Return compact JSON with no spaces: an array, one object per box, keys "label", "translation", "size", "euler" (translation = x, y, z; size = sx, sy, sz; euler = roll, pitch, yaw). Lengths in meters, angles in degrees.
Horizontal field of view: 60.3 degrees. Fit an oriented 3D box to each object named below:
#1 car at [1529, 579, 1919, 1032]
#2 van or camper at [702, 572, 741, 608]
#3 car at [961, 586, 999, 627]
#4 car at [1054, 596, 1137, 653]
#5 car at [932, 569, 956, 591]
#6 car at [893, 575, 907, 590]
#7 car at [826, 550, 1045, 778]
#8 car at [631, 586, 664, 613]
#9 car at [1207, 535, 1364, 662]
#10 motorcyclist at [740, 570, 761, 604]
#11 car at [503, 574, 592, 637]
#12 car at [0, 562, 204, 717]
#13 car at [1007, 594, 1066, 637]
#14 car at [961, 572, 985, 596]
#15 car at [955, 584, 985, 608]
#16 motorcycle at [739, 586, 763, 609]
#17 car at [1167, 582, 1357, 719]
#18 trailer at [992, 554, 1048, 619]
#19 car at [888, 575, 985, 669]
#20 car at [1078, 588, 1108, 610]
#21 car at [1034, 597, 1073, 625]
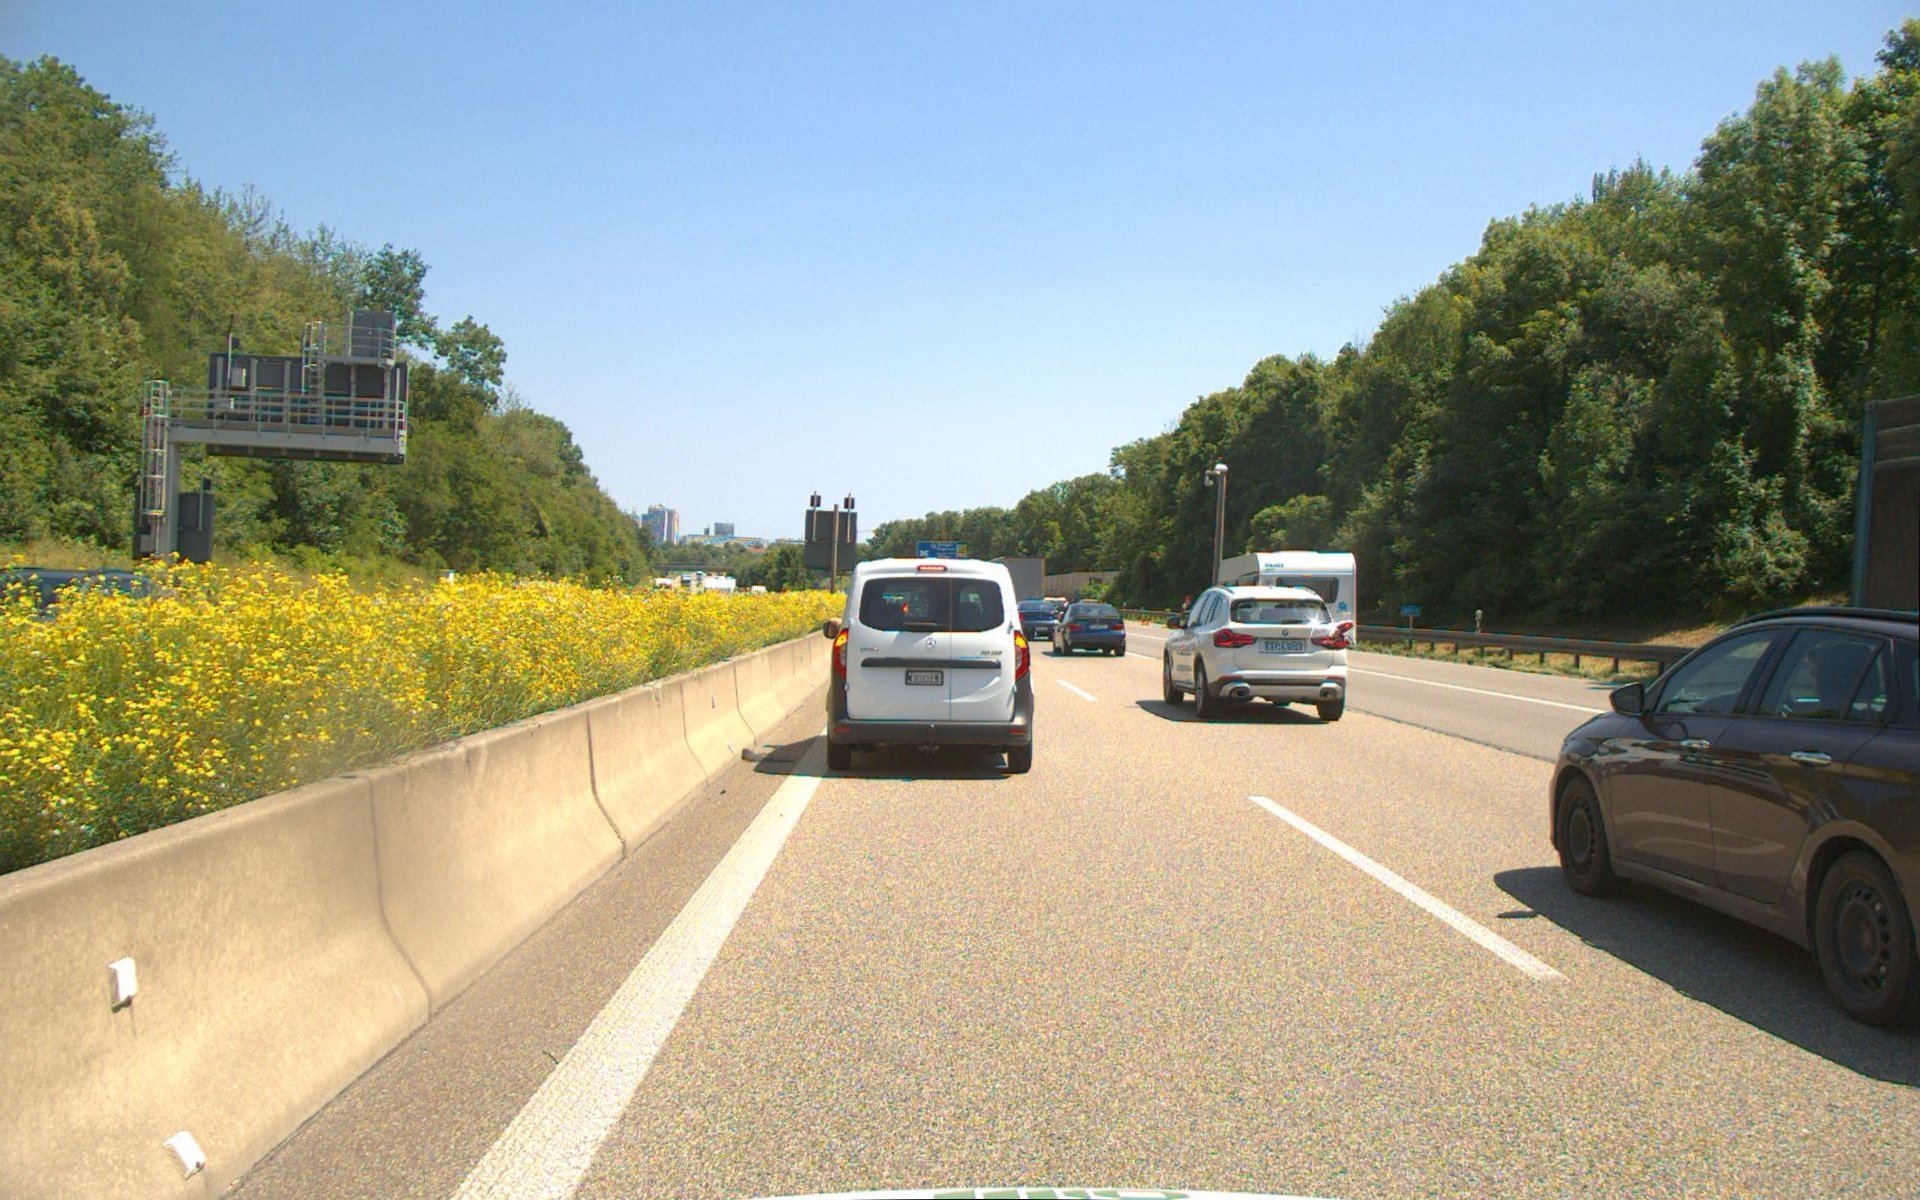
[{"label":"car","translation":[4.153,0.698,7.104],"size":[1.801,1.539,4.401],"euler":[1,1,-1]},{"label":"van or camper","translation":[-18.364,-0.733,127.570],"size":[2.262,2.682,7.395],"euler":[1,0,-3]},{"label":"car","translation":[1.012,0.324,85.016],"size":[1.787,2.024,3.999],"euler":[1,0,-2]},{"label":"car","translation":[3.569,0.619,44.226],"size":[1.787,1.449,3.999],"euler":[1,0,-2]},{"label":"car","translation":[-1.572,-1.904,160.264],"size":[1.955,2.049,3.996],"euler":[0,0,-5]},{"label":"car","translation":[-8.376,-2.499,232.191],"size":[1.953,2.049,3.999],"euler":[1,0,-2]},{"label":"car","translation":[-0.274,0.512,15.503],"size":[1.766,1.839,3.998],"euler":[1,0,-2]},{"label":"car","translation":[-21.035,-0.029,111.463],"size":[1.721,1.725,4.418],"euler":[1,0,-5]},{"label":"car","translation":[7.769,-0.038,40.247],"size":[2.429,2.814,6.218],"euler":[1,0,-2]},{"label":"motorcyclist","translation":[-11.498,-0.709,90.720],"size":[1.010,1.817,1.283],"euler":[0,0,-2]},{"label":"car","translation":[-12.217,0.152,49.188],"size":[1.701,1.764,4.147],"euler":[1,0,-2]},{"label":"car","translation":[-10.661,0.386,19.179],"size":[1.953,1.600,4.064],"euler":[1,0,-1]},{"label":"car","translation":[2.691,0.524,58.717],"size":[1.787,1.449,3.999],"euler":[1,0,-2]},{"label":"car","translation":[1.101,-1.414,143.340],"size":[1.953,2.049,3.999],"euler":[0,0,-1]},{"label":"car","translation":[0.606,-0.262,104.933],"size":[1.787,1.472,3.999],"euler":[1,0,-2]},{"label":"motorcycle","translation":[-11.442,-0.136,90.773],"size":[1.019,1.236,2.613],"euler":[1,0,-1]},{"label":"car","translation":[3.950,0.601,22.237],"size":[1.833,1.636,3.879],"euler":[1,1,0]},{"label":"trailer","translation":[3.829,-0.863,108.081],"size":[3.019,4.055,10.320],"euler":[1,0,-2]},{"label":"car","translation":[-0.533,0.438,35.587],"size":[1.953,1.892,3.999],"euler":[1,0,-2]},{"label":"car","translation":[9.463,-0.070,118.170],"size":[1.752,1.545,3.999],"euler":[1,0,-1]},{"label":"car","translation":[5.038,0.567,89.609],"size":[1.787,1.449,3.999],"euler":[1,0,-2]}]
